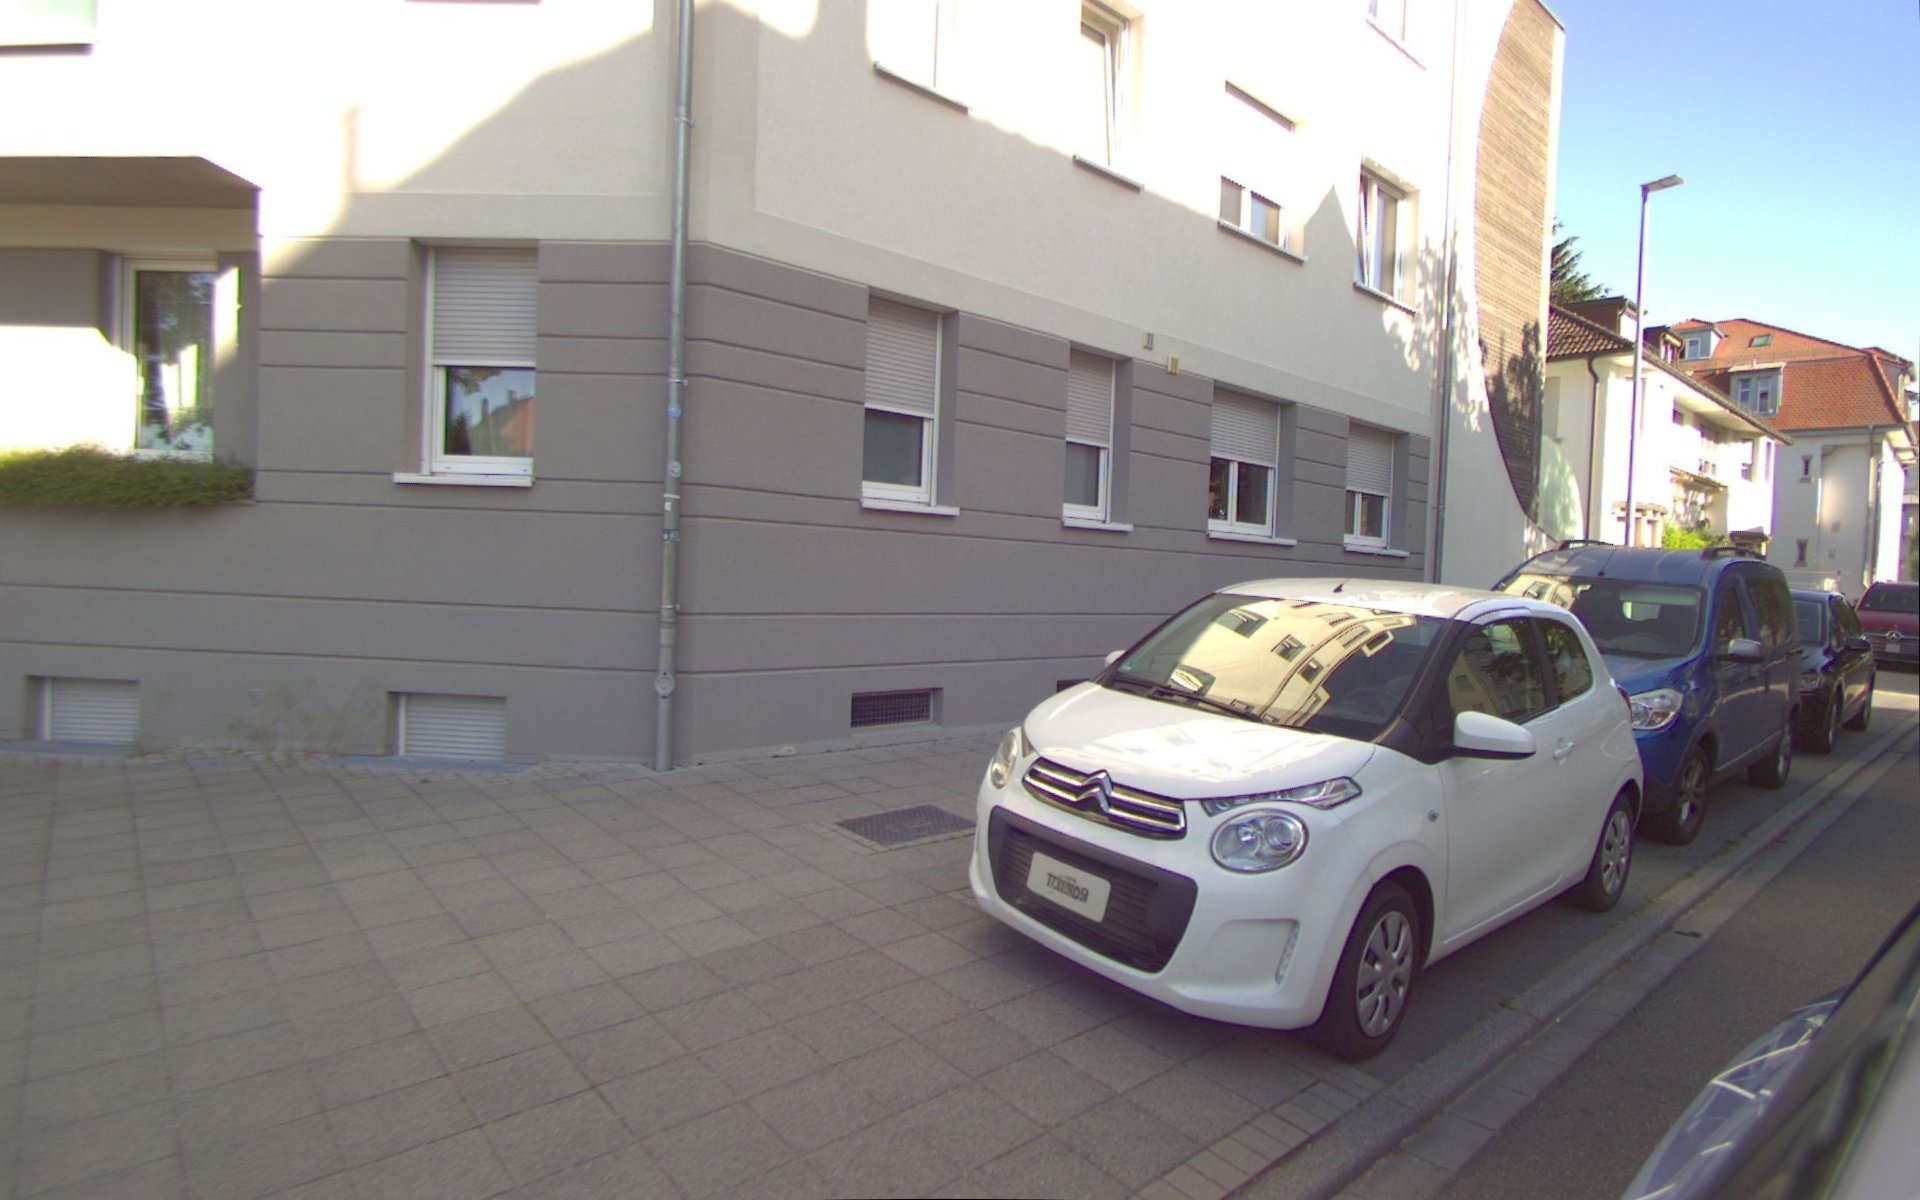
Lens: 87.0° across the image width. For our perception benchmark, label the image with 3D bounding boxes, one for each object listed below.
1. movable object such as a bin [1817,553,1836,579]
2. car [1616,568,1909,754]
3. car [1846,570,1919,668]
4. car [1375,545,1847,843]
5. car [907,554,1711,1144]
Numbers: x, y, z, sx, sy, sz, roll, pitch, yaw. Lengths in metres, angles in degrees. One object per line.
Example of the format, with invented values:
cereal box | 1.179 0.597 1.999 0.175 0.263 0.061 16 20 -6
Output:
movable object such as a bin | 36.619 -1.430 42.749 0.686 1.076 0.556 -1 1 -45
car | 8.892 0.534 11.090 4.106 1.549 1.741 0 5 -42
car | 21.195 0.376 21.999 5.102 1.928 1.877 0 4 -38
car | 4.871 0.423 7.320 4.192 1.451 1.686 -2 7 -42
car | 1.728 0.598 4.398 3.664 1.426 1.569 -1 7 -40
